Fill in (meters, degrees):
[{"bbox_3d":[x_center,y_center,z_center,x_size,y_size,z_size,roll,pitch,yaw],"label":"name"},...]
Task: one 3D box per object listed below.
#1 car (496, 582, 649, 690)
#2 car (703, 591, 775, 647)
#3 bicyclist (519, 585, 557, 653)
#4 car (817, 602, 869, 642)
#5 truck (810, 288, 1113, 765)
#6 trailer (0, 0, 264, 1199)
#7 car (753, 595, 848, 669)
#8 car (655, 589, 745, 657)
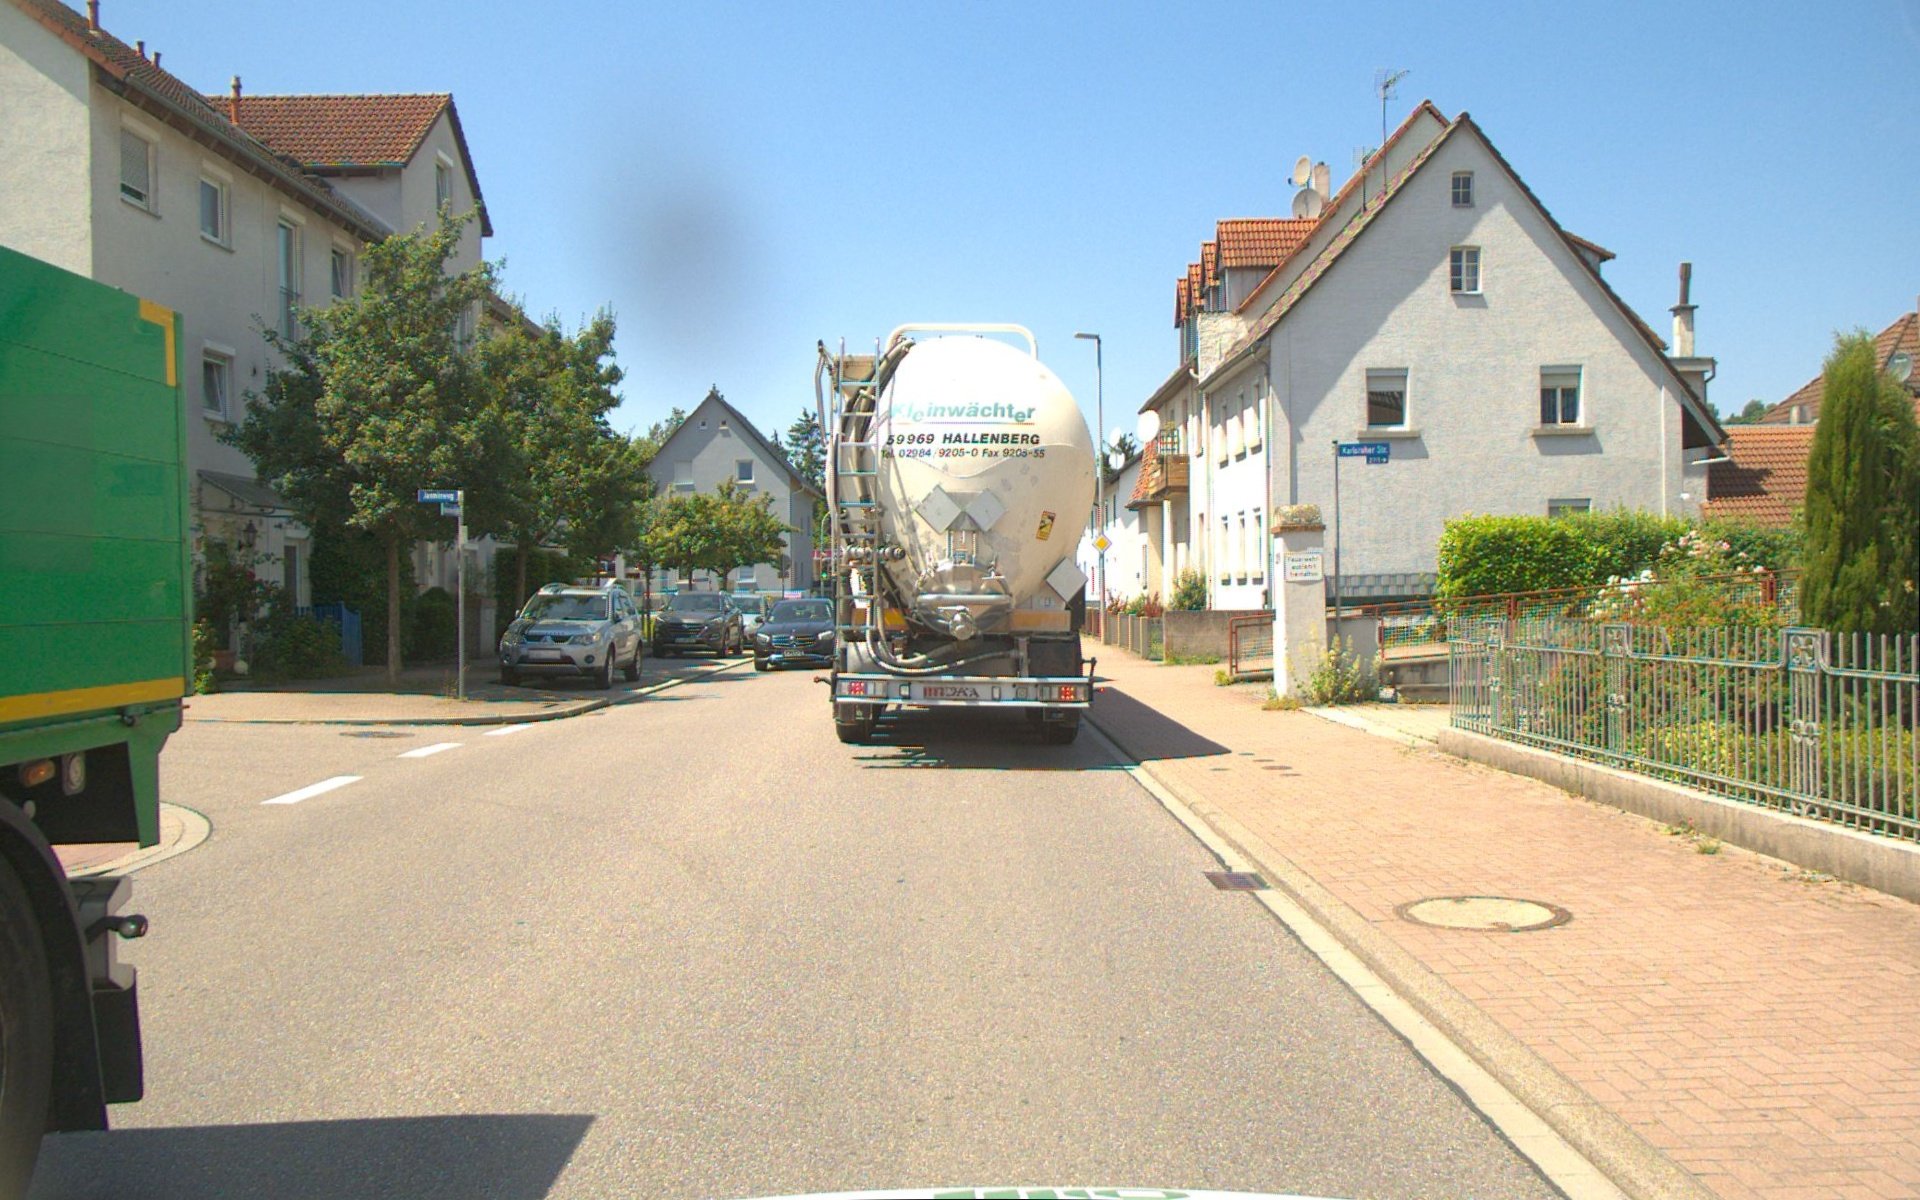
[{"bbox_3d":[-6.584,0.563,28.548,1.671,1.716,4.524,0,0,-1],"label":"car"},{"bbox_3d":[-6.516,0.539,49.135,1.663,1.608,3.837,0,0,-1],"label":"car"},{"bbox_3d":[-9.687,0.427,38.018,0.645,1.520,0.908,2,0,-4],"label":"bicyclist"},{"bbox_3d":[-4.457,0.809,63.257,1.671,1.394,3.868,-3,0,0],"label":"car"},{"bbox_3d":[-0.117,-0.653,18.979,2.587,4.086,9.558,0,0,-2],"label":"truck"},{"bbox_3d":[-3.048,-0.349,0.269,2.479,3.712,8.458,-1,0,-2],"label":"trailer"},{"bbox_3d":[-3.461,0.663,36.602,1.695,1.486,4.693,-1,0,-1],"label":"car"},{"bbox_3d":[-6.578,0.563,42.240,1.657,1.648,3.997,0,0,0],"label":"car"}]
